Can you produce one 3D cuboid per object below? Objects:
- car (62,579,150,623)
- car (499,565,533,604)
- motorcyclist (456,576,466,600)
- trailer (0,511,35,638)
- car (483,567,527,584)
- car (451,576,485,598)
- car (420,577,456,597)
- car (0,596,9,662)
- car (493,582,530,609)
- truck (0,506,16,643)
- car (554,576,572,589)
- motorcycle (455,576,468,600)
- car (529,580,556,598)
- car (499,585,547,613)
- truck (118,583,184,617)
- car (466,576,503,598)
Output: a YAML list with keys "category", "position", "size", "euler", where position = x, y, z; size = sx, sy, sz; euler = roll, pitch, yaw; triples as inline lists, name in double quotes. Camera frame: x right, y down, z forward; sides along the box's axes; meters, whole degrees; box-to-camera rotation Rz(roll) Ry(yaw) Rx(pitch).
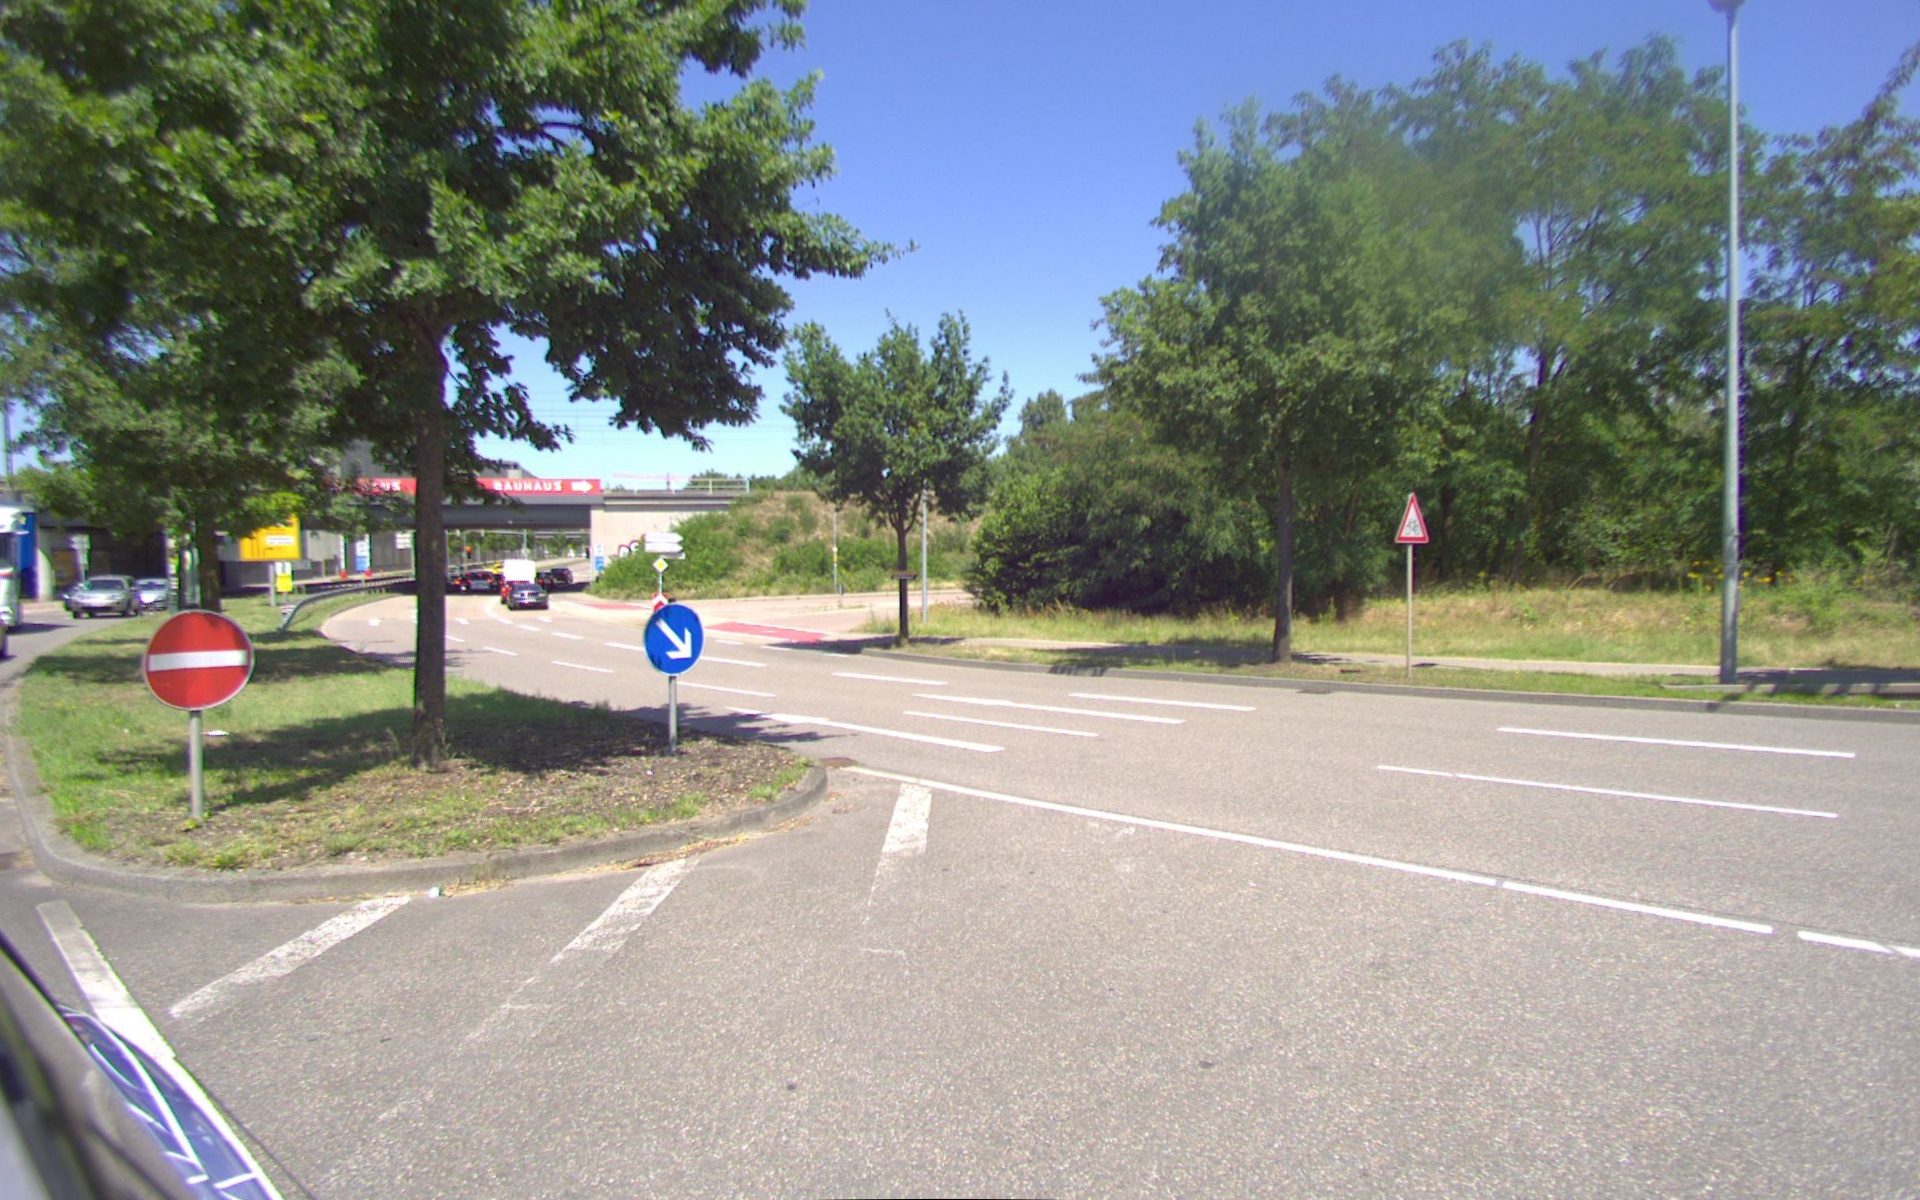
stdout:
- category: "car"
  position: [-35.796, 0.000, 42.532]
  size: [1.815, 1.708, 3.712]
  euler: [-1, 2, -23]
- category: "car"
  position: [-30.522, -1.018, 69.724]
  size: [2.064, 2.519, 5.828]
  euler: [0, 0, -23]
- category: "motorcyclist"
  position: [-35.292, -0.846, 71.633]
  size: [0.579, 1.638, 0.564]
  euler: [-1, 2, -20]
- category: "trailer"
  position: [-37.440, -0.831, 35.786]
  size: [13.841, 4.120, 2.477]
  euler: [0, 2, 28]
- category: "car"
  position: [-52.042, -2.843, 115.721]
  size: [4.252, 1.873, 1.876]
  euler: [-1, 2, -39]
- category: "car"
  position: [-43.206, -1.159, 88.867]
  size: [1.876, 1.873, 4.011]
  euler: [0, 2, -14]
- category: "car"
  position: [-39.400, -0.980, 76.439]
  size: [1.611, 1.413, 4.234]
  euler: [1, 1, -16]
- category: "car"
  position: [-21.103, 0.648, 20.968]
  size: [1.621, 1.409, 4.061]
  euler: [1, 0, -37]
- category: "car"
  position: [-26.732, -0.310, 60.262]
  size: [1.805, 1.448, 4.541]
  euler: [-1, 2, -27]
- category: "truck"
  position: [-31.628, -0.818, 31.887]
  size: [2.536, 4.132, 5.770]
  euler: [-1, 2, -42]
- category: "car"
  position: [-39.922, -1.754, 101.716]
  size: [1.167, 1.257, 2.698]
  euler: [0, 2, -10]
- category: "motorcycle"
  position: [-35.356, -0.865, 71.813]
  size: [0.589, 1.690, 2.433]
  euler: [-1, 2, -21]
- category: "car"
  position: [-37.186, -1.003, 90.208]
  size: [1.549, 1.514, 3.415]
  euler: [0, 2, -10]
- category: "car"
  position: [-23.114, -0.075, 53.440]
  size: [1.784, 1.343, 4.584]
  euler: [-1, 2, -30]
- category: "truck"
  position: [-39.265, -0.029, 49.231]
  size: [1.702, 1.513, 4.013]
  euler: [-1, 2, -27]
- category: "car"
  position: [-35.608, -0.988, 75.859]
  size: [1.612, 1.579, 4.083]
  euler: [0, 0, -12]
